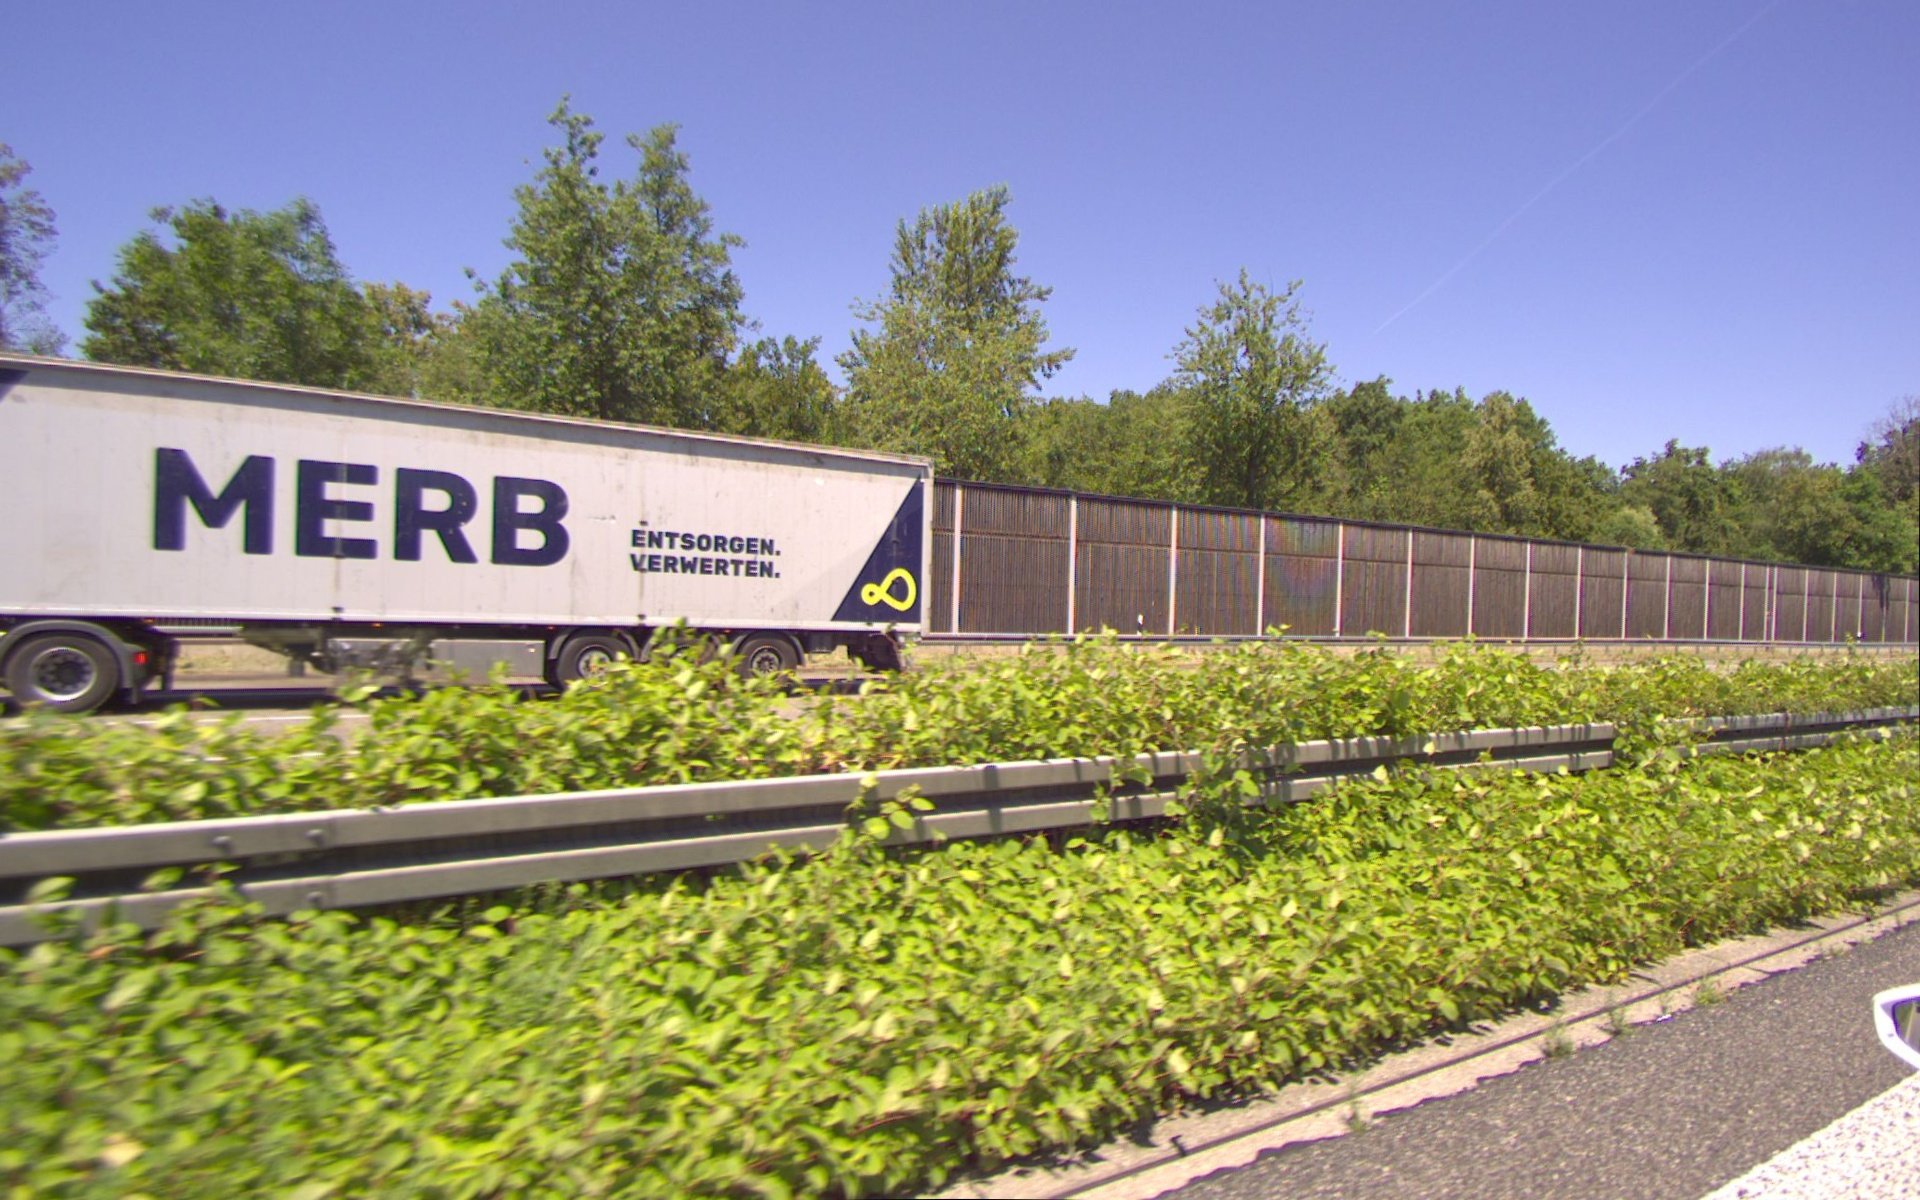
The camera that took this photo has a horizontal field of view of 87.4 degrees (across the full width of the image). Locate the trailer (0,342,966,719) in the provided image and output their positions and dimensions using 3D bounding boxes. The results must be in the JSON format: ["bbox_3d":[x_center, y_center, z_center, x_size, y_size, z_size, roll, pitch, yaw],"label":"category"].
[{"bbox_3d":[-6.380,-0.636,15.123,13.491,4.190,2.473,2,0,-30],"label":"trailer"}]

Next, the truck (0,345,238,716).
[{"bbox_3d":[-12.435,-0.811,11.618,6.295,4.120,2.508,2,0,-30],"label":"truck"}]
